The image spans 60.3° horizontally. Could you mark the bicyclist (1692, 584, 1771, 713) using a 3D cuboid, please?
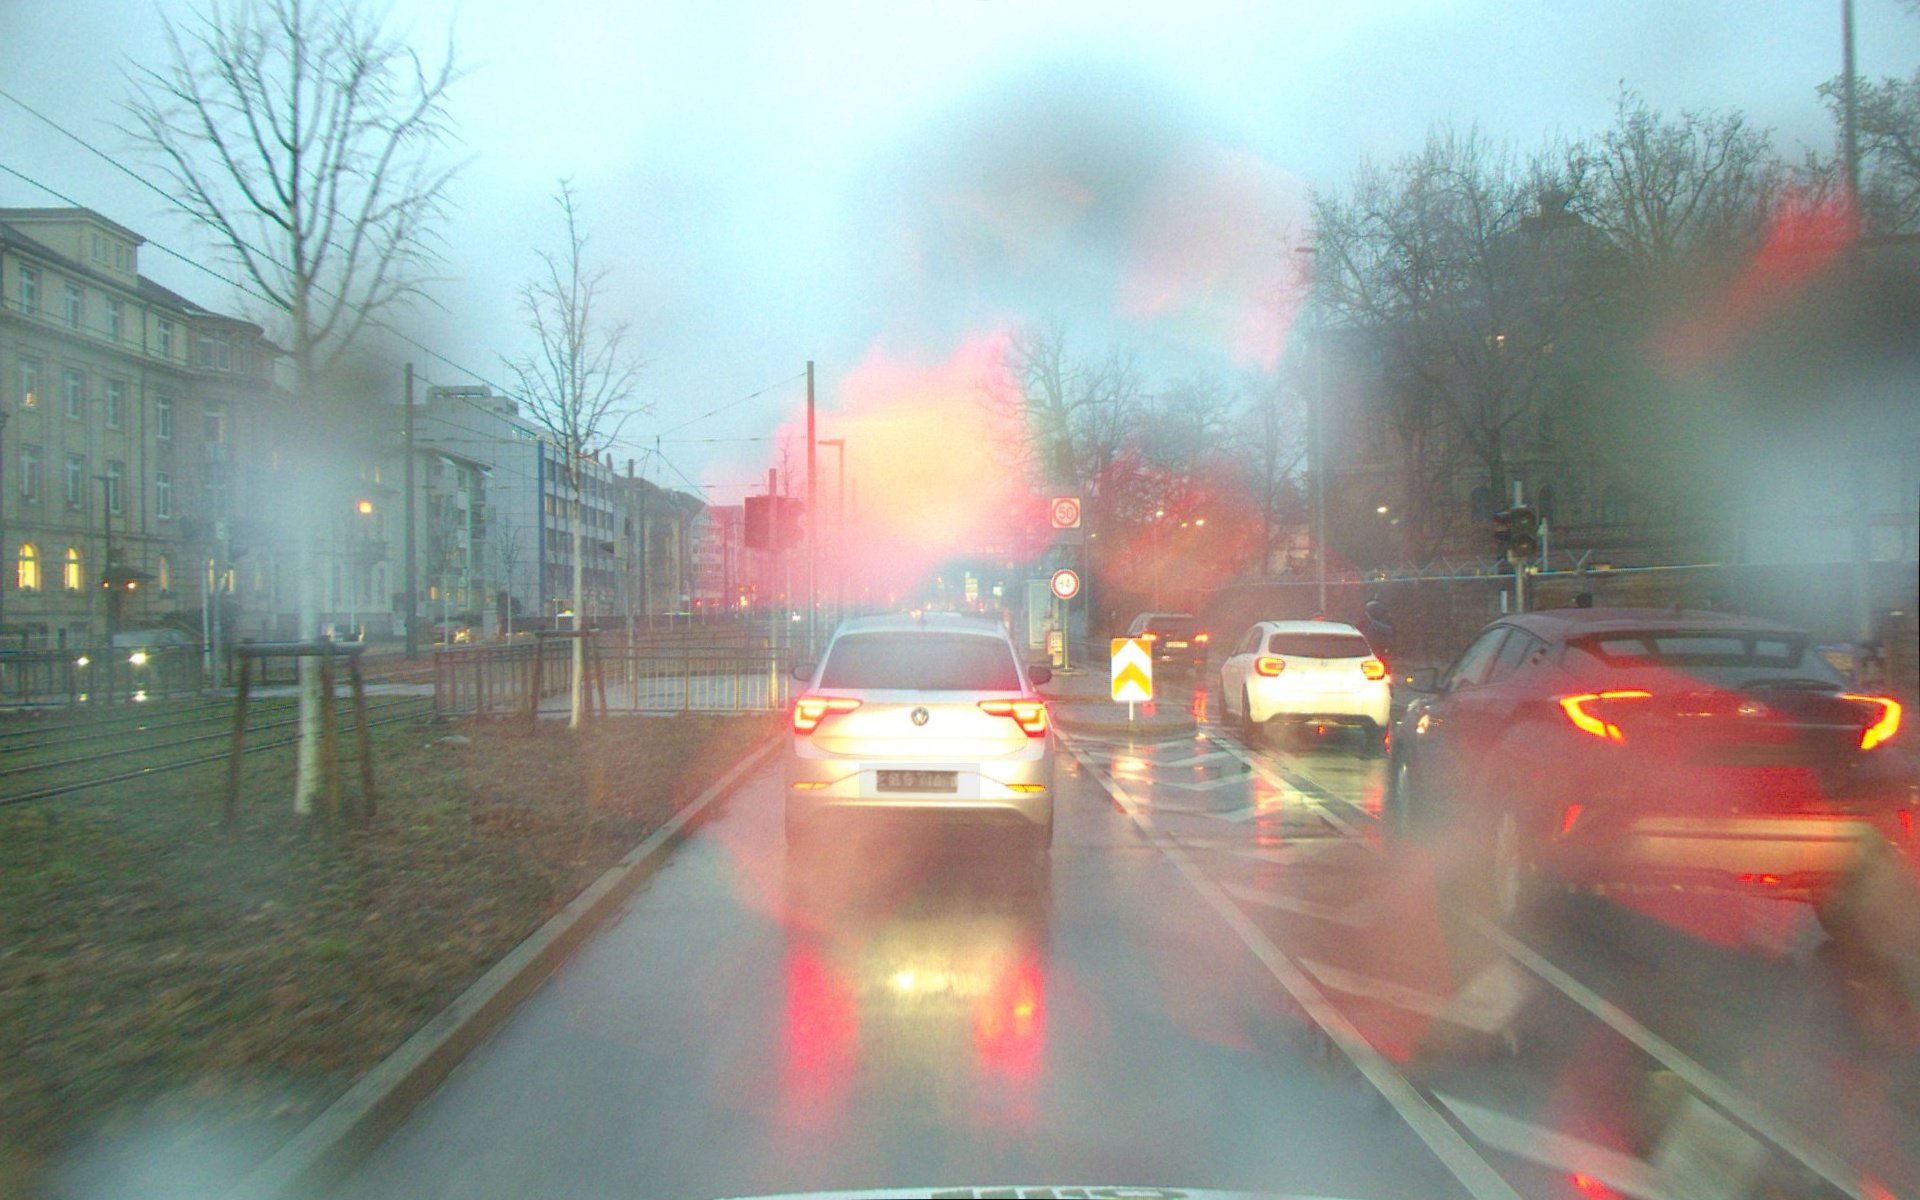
[{"bbox_3d":[10.434,0.644,22.370,0.803,1.708,0.693,-1,-1,42],"label":"bicyclist"}]

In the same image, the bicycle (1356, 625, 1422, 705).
[{"bbox_3d":[6.882,1.025,26.625,0.403,1.206,2.027,-1,0,-3],"label":"bicycle"}]

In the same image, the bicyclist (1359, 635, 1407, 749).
[{"bbox_3d":[6.855,1.475,26.841,0.490,1.798,0.836,-1,0,-4],"label":"bicyclist"}]

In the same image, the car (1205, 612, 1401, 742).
[{"bbox_3d":[4.348,0.944,21.503,1.687,1.505,3.999,1,-1,0],"label":"car"}]

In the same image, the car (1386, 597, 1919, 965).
[{"bbox_3d":[3.518,0.798,8.957,1.686,1.505,4.002,1,-1,5],"label":"car"}]

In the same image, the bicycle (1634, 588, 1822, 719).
[{"bbox_3d":[10.368,0.699,22.393,2.209,1.686,0.685,0,-2,44],"label":"bicycle"}]

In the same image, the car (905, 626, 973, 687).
[{"bbox_3d":[-0.528,1.474,43.800,1.687,1.505,3.999,1,-1,0],"label":"car"}]

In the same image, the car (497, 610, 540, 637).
[{"bbox_3d":[-29.603,1.541,110.930,1.954,1.722,4.108,-1,0,-4],"label":"car"}]

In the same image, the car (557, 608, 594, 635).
[{"bbox_3d":[-29.753,1.654,128.086,1.954,1.967,4.908,-1,0,-4],"label":"car"}]

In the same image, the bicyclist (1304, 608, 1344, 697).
[{"bbox_3d":[6.814,0.972,30.998,0.490,1.619,0.836,-1,0,-4],"label":"bicyclist"}]

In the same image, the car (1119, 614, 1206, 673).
[{"bbox_3d":[4.855,1.043,40.048,1.590,1.322,3.999,1,-1,0],"label":"car"}]

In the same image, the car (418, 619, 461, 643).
[{"bbox_3d":[-33.961,2.010,107.964,1.770,1.461,3.924,-1,0,-4],"label":"car"}]

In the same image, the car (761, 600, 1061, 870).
[{"bbox_3d":[-0.286,0.778,11.456,1.687,1.505,4.000,1,0,0],"label":"car"}]

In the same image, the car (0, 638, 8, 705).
[{"bbox_3d":[-24.222,1.698,38.584,1.765,1.613,3.998,1,-1,-2],"label":"car"}]

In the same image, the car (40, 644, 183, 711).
[{"bbox_3d":[-22.242,2.001,43.539,1.765,1.613,3.998,1,-1,-2],"label":"car"}]
